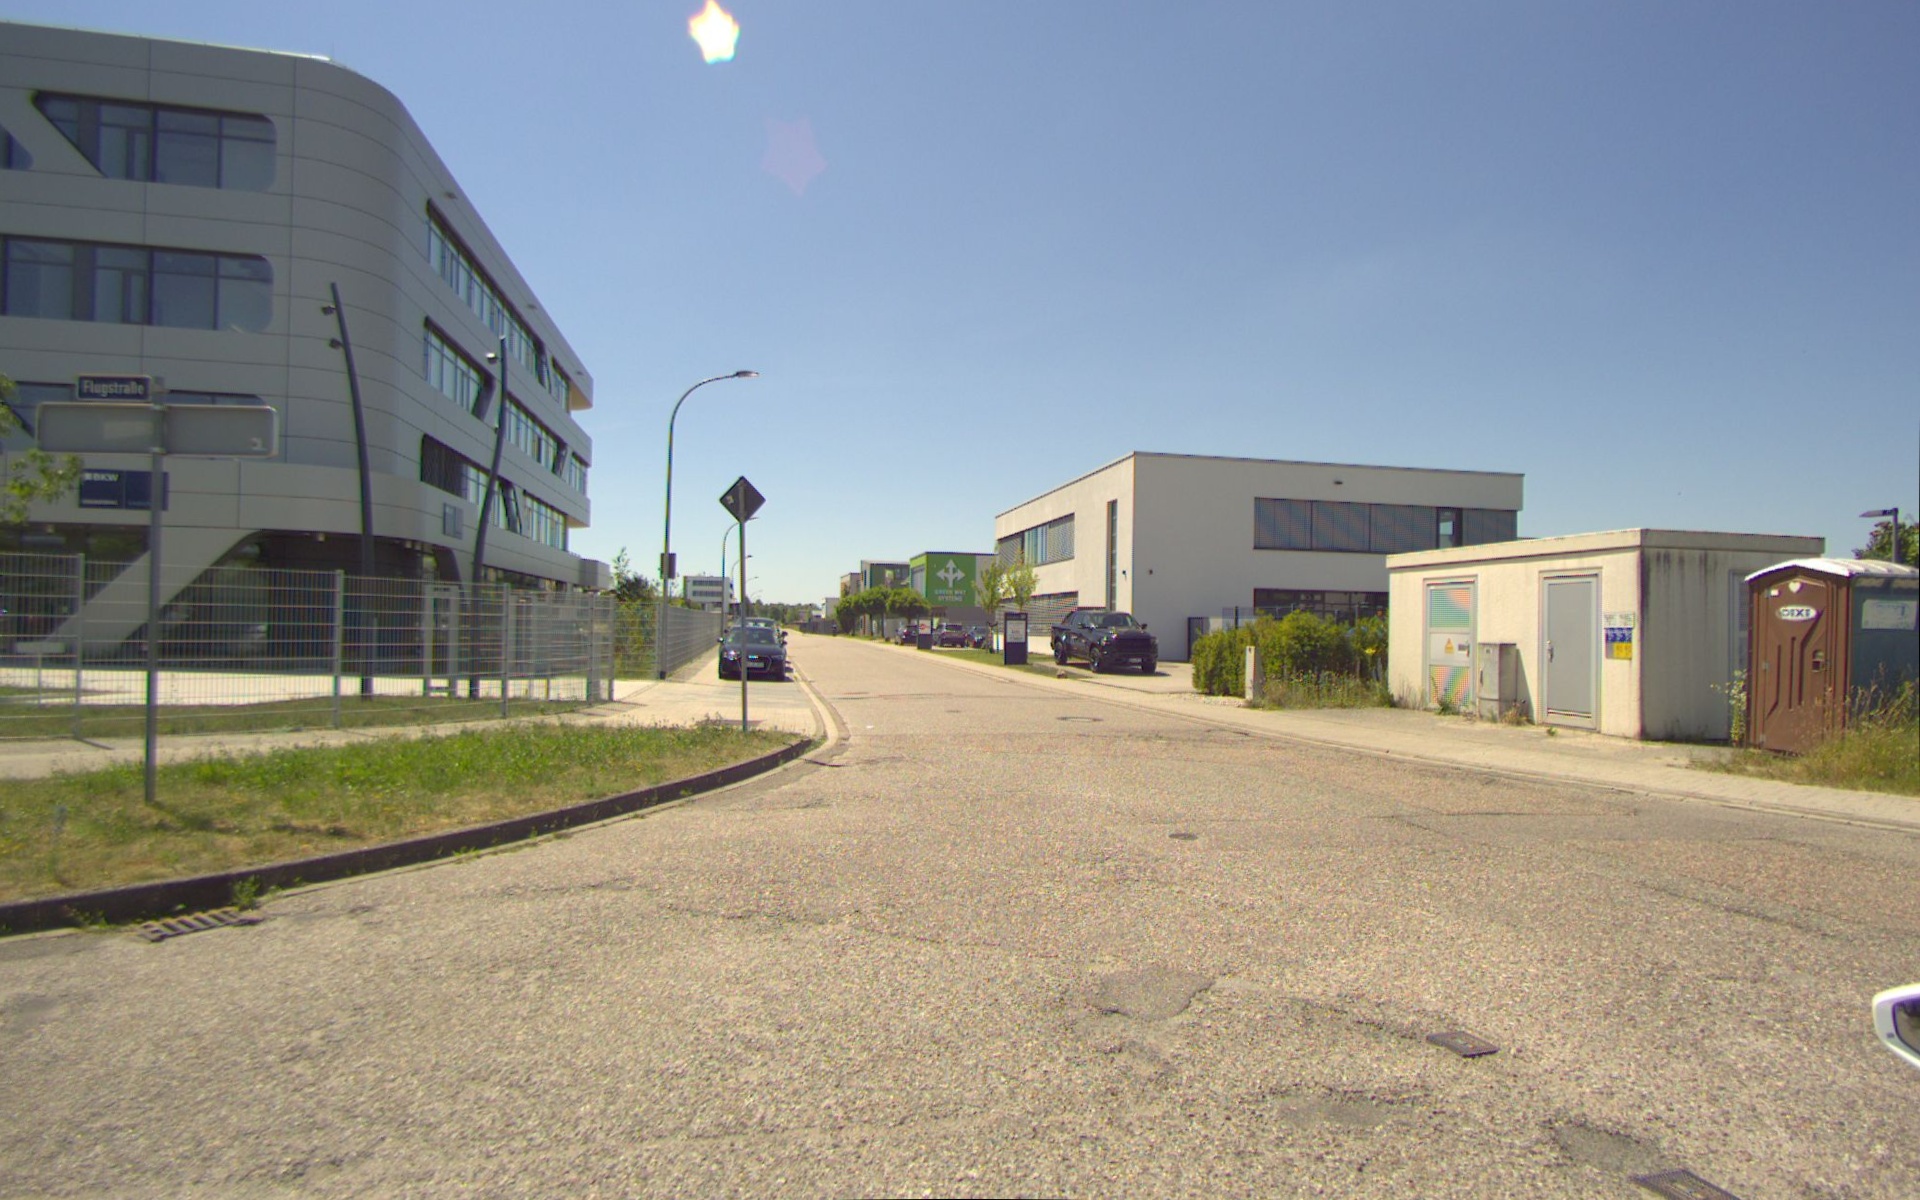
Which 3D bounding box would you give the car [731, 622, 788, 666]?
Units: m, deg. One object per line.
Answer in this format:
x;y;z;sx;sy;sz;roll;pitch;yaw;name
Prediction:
-8.050;1.732;40.021;1.966;1.560;3.989;4;-3;-14;car

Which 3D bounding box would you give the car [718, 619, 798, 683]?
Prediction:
-5.728;1.388;28.135;1.966;1.560;3.989;4;-3;-14;car

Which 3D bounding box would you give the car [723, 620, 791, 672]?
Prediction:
-6.860;1.515;33.681;1.966;1.560;3.989;4;-3;-14;car

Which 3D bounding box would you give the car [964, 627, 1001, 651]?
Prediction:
1.490;2.636;68.923;1.544;1.572;3.990;1;-2;-14;car

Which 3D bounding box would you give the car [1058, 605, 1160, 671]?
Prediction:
4.829;1.254;33.104;1.966;2.040;3.989;1;-2;-14;car

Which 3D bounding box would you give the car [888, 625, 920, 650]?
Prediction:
-3.858;2.549;68.463;1.610;1.617;3.992;1;-2;-11;car

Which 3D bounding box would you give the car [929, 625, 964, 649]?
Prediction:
-0.928;2.527;68.983;1.544;1.572;3.990;1;-2;-14;car
